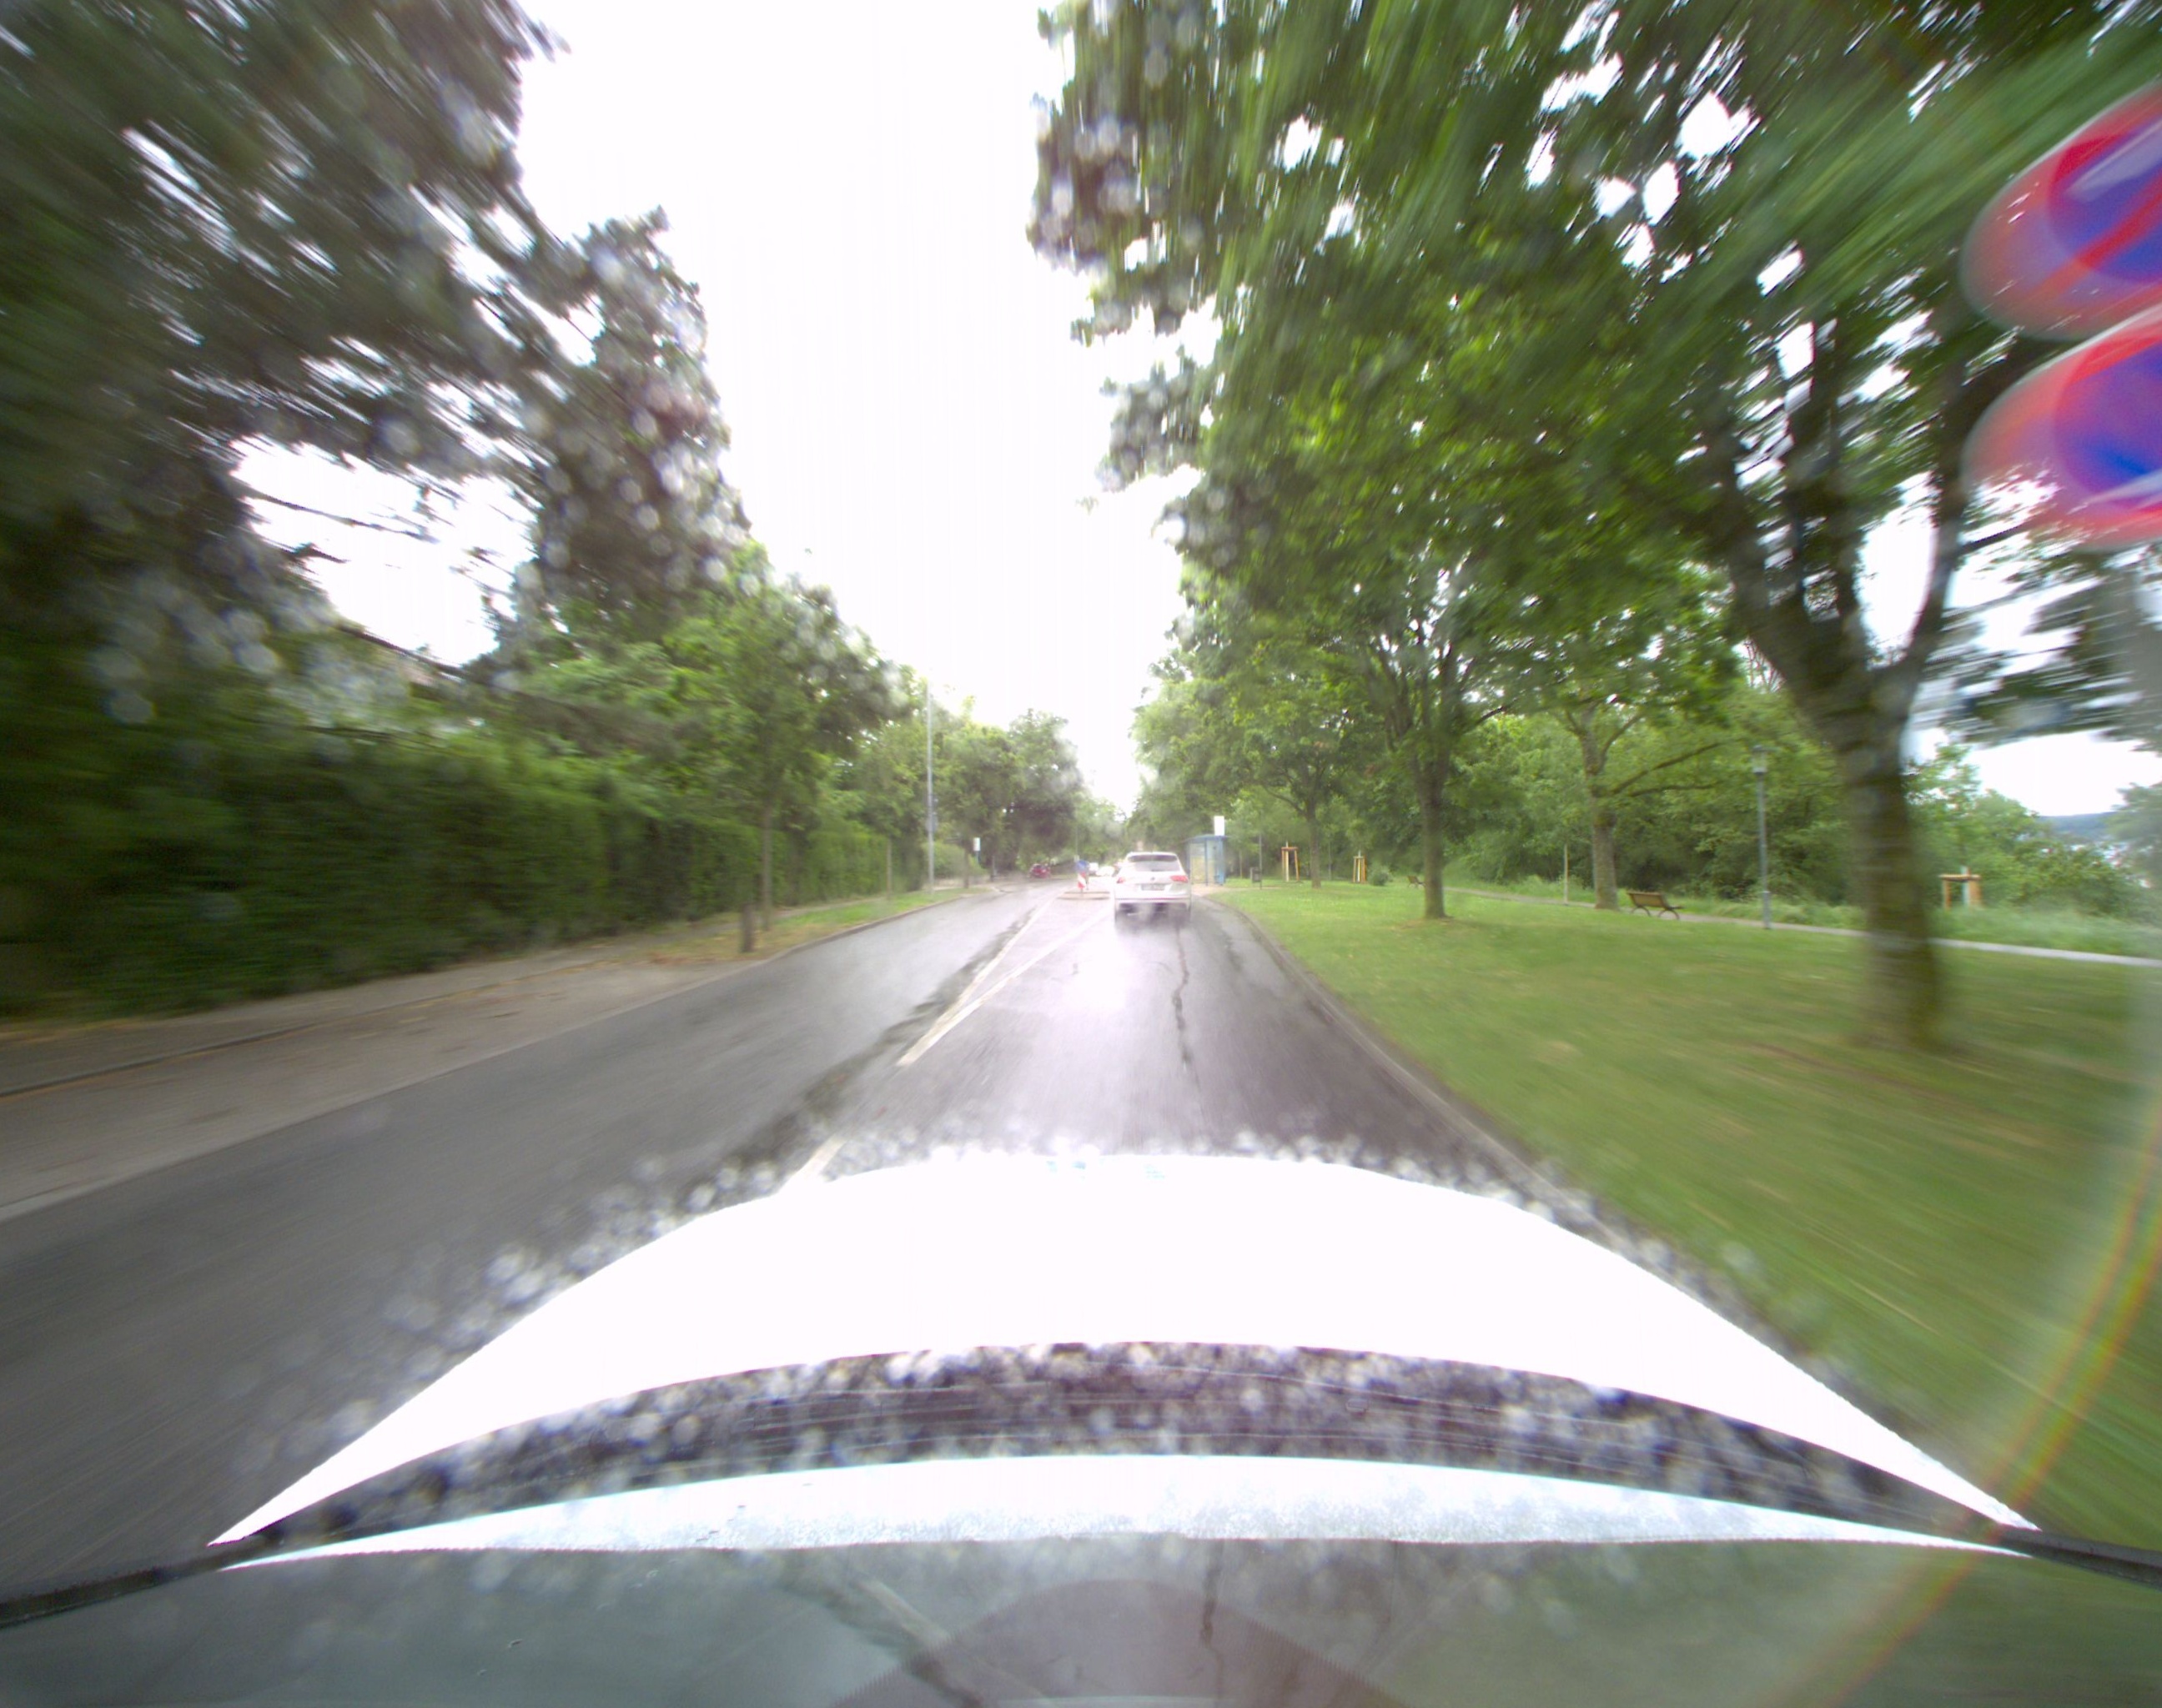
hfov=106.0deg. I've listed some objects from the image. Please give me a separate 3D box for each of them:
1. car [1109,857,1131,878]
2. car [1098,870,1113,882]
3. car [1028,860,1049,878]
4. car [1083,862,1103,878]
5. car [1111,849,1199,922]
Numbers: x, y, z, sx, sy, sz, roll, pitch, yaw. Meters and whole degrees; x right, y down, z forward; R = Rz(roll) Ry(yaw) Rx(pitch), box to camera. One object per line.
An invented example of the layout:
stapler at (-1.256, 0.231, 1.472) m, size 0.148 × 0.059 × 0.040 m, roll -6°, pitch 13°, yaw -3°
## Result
car at (3.942, 1.383, 82.876) m, size 1.896 × 2.014 × 3.941 m, roll 1°, pitch -2°, yaw -2°
car at (3.525, 3.131, 116.346) m, size 1.987 × 1.744 × 3.998 m, roll 1°, pitch -2°, yaw -1°
car at (-4.396, 1.537, 83.988) m, size 1.987 × 1.763 × 3.998 m, roll 0°, pitch -2°, yaw -1°
car at (1.273, 1.748, 90.011) m, size 2.111 × 1.639 × 3.997 m, roll 0°, pitch 0°, yaw -2°
car at (1.761, 0.729, 20.495) m, size 1.966 × 1.653 × 4.179 m, roll 0°, pitch 0°, yaw 2°
